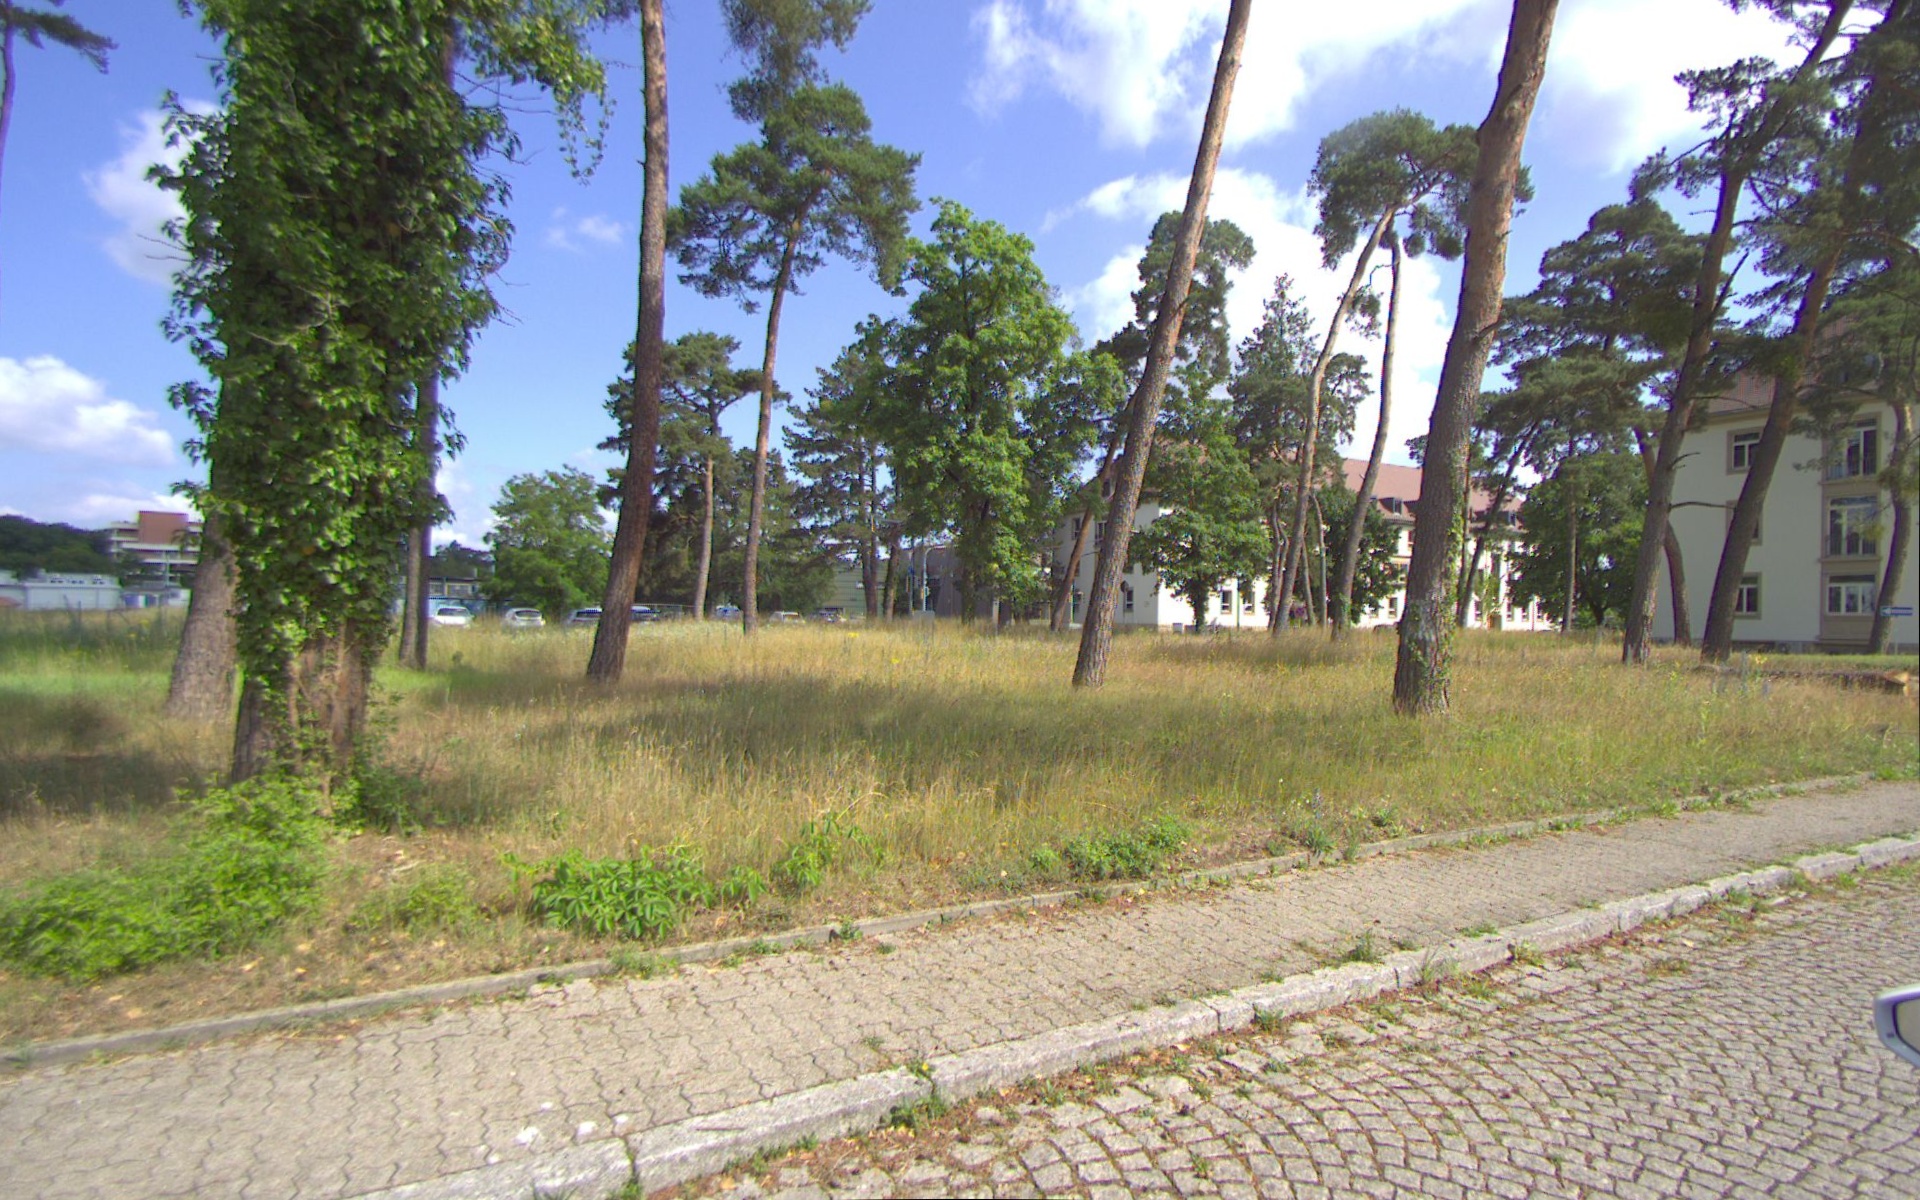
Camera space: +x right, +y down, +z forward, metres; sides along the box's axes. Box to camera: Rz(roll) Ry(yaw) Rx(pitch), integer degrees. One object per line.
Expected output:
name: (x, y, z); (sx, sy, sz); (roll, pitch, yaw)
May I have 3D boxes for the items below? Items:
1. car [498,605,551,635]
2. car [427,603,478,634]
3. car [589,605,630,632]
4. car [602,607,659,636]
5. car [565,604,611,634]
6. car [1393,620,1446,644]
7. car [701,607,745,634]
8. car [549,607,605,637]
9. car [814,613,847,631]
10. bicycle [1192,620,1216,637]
car: (-20.880, 0.941, 48.065); (1.879, 1.356, 4.046); (2, -2, -30)
car: (-23.374, 0.847, 46.198); (1.879, 1.366, 4.038); (2, -2, -30)
car: (-23.779, 1.249, 68.058); (1.879, 1.724, 4.046); (2, -2, -30)
car: (-16.423, 1.064, 49.921); (1.879, 1.326, 4.046); (2, -2, -30)
car: (-21.994, 1.125, 59.355); (1.879, 1.724, 4.046); (2, -2, -30)
car: (40.196, 2.815, 87.963); (1.692, 2.018, 4.043); (2, -2, -28)
car: (-16.827, 1.456, 71.241); (1.879, 1.803, 4.046); (2, -2, -30)
car: (-18.556, 1.062, 48.605); (1.879, 1.337, 4.046); (2, -2, -30)
car: (-15.715, 2.717, 121.857); (3.636, 2.115, 1.722); (2, -1, -20)
bicycle: (16.227, 1.876, 66.756); (1.561, 1.115, 0.489); (2, -1, -19)
